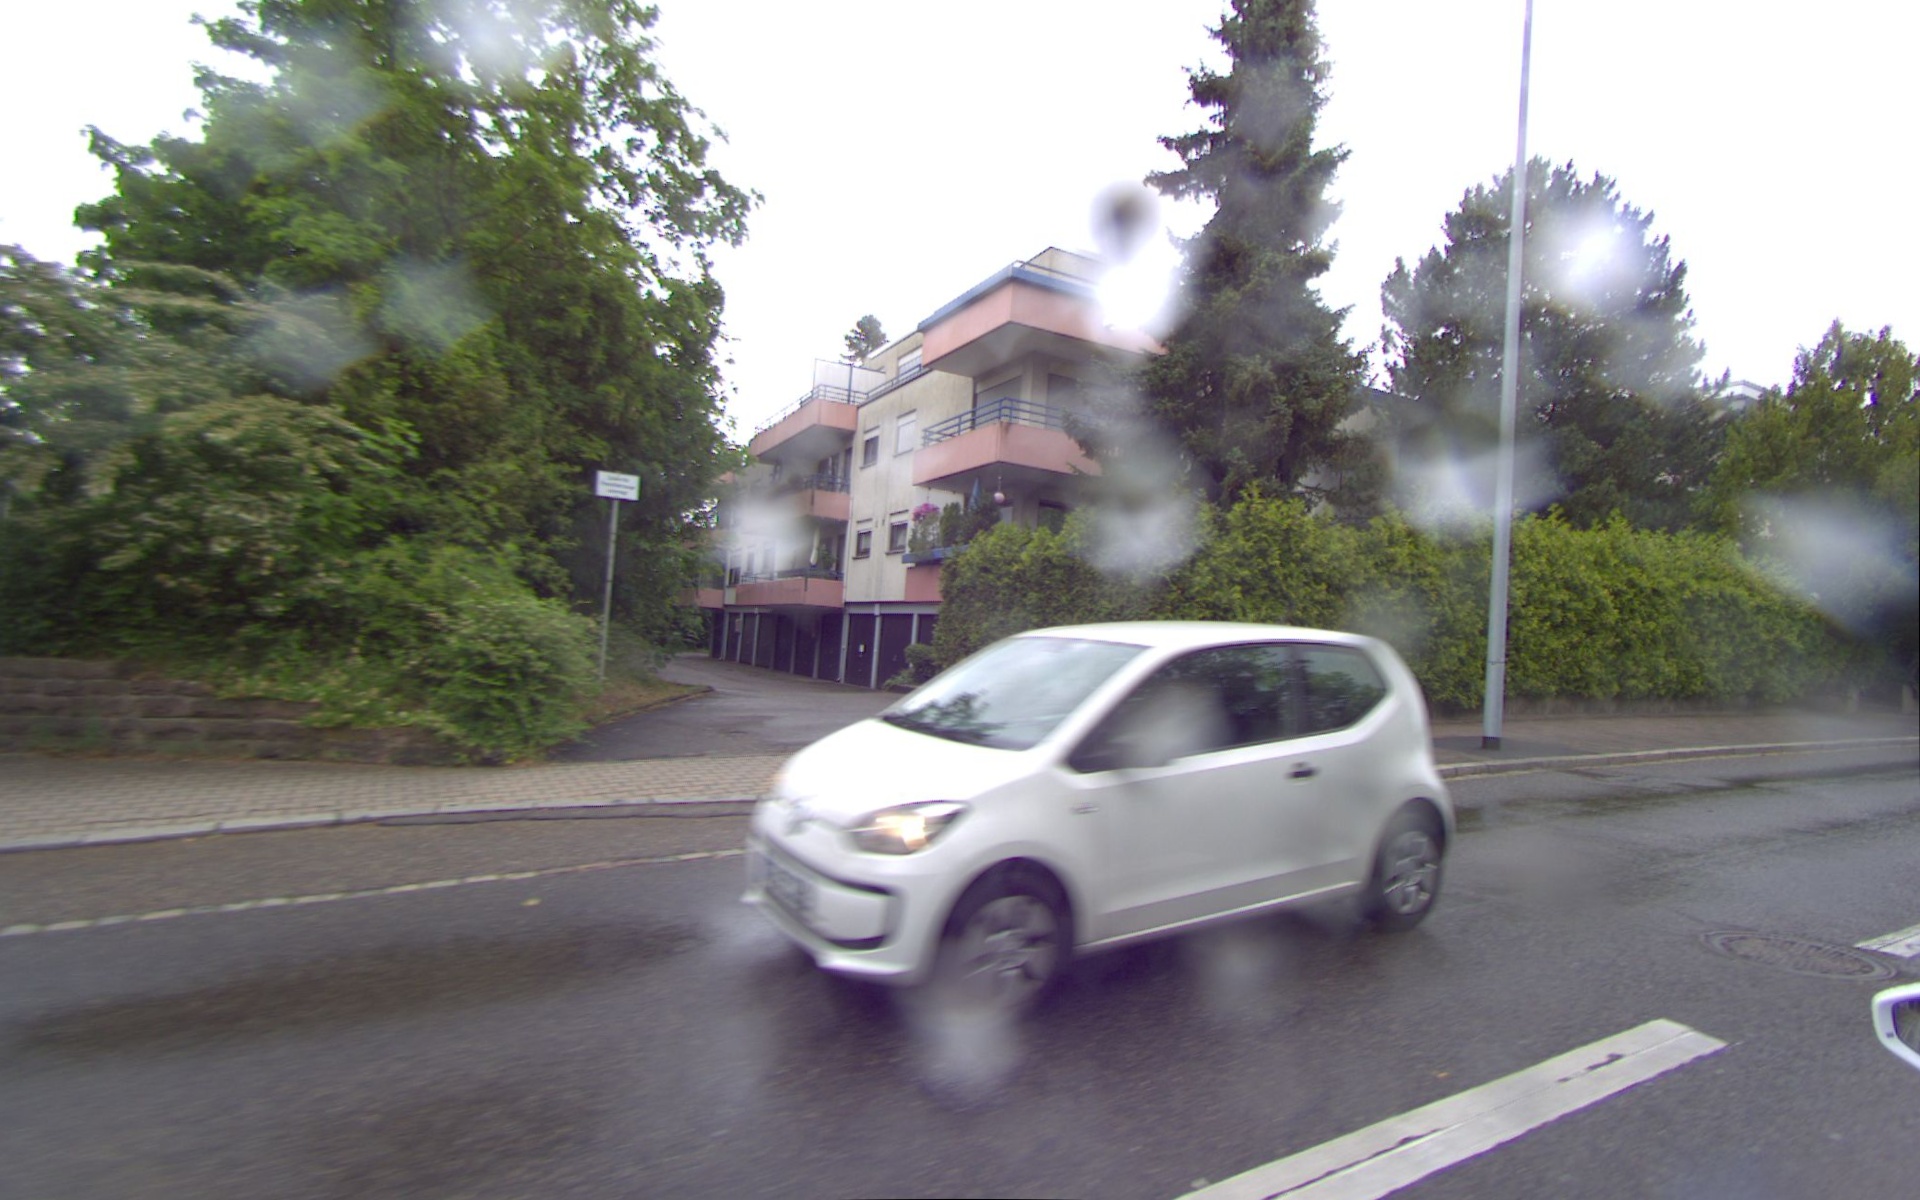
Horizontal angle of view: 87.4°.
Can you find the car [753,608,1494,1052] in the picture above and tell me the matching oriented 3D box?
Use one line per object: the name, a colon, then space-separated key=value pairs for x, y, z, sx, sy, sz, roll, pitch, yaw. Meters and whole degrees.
car: x=0.876 y=0.815 z=4.979 sx=3.360 sy=1.473 sz=1.676 roll=2 pitch=-1 yaw=-32
